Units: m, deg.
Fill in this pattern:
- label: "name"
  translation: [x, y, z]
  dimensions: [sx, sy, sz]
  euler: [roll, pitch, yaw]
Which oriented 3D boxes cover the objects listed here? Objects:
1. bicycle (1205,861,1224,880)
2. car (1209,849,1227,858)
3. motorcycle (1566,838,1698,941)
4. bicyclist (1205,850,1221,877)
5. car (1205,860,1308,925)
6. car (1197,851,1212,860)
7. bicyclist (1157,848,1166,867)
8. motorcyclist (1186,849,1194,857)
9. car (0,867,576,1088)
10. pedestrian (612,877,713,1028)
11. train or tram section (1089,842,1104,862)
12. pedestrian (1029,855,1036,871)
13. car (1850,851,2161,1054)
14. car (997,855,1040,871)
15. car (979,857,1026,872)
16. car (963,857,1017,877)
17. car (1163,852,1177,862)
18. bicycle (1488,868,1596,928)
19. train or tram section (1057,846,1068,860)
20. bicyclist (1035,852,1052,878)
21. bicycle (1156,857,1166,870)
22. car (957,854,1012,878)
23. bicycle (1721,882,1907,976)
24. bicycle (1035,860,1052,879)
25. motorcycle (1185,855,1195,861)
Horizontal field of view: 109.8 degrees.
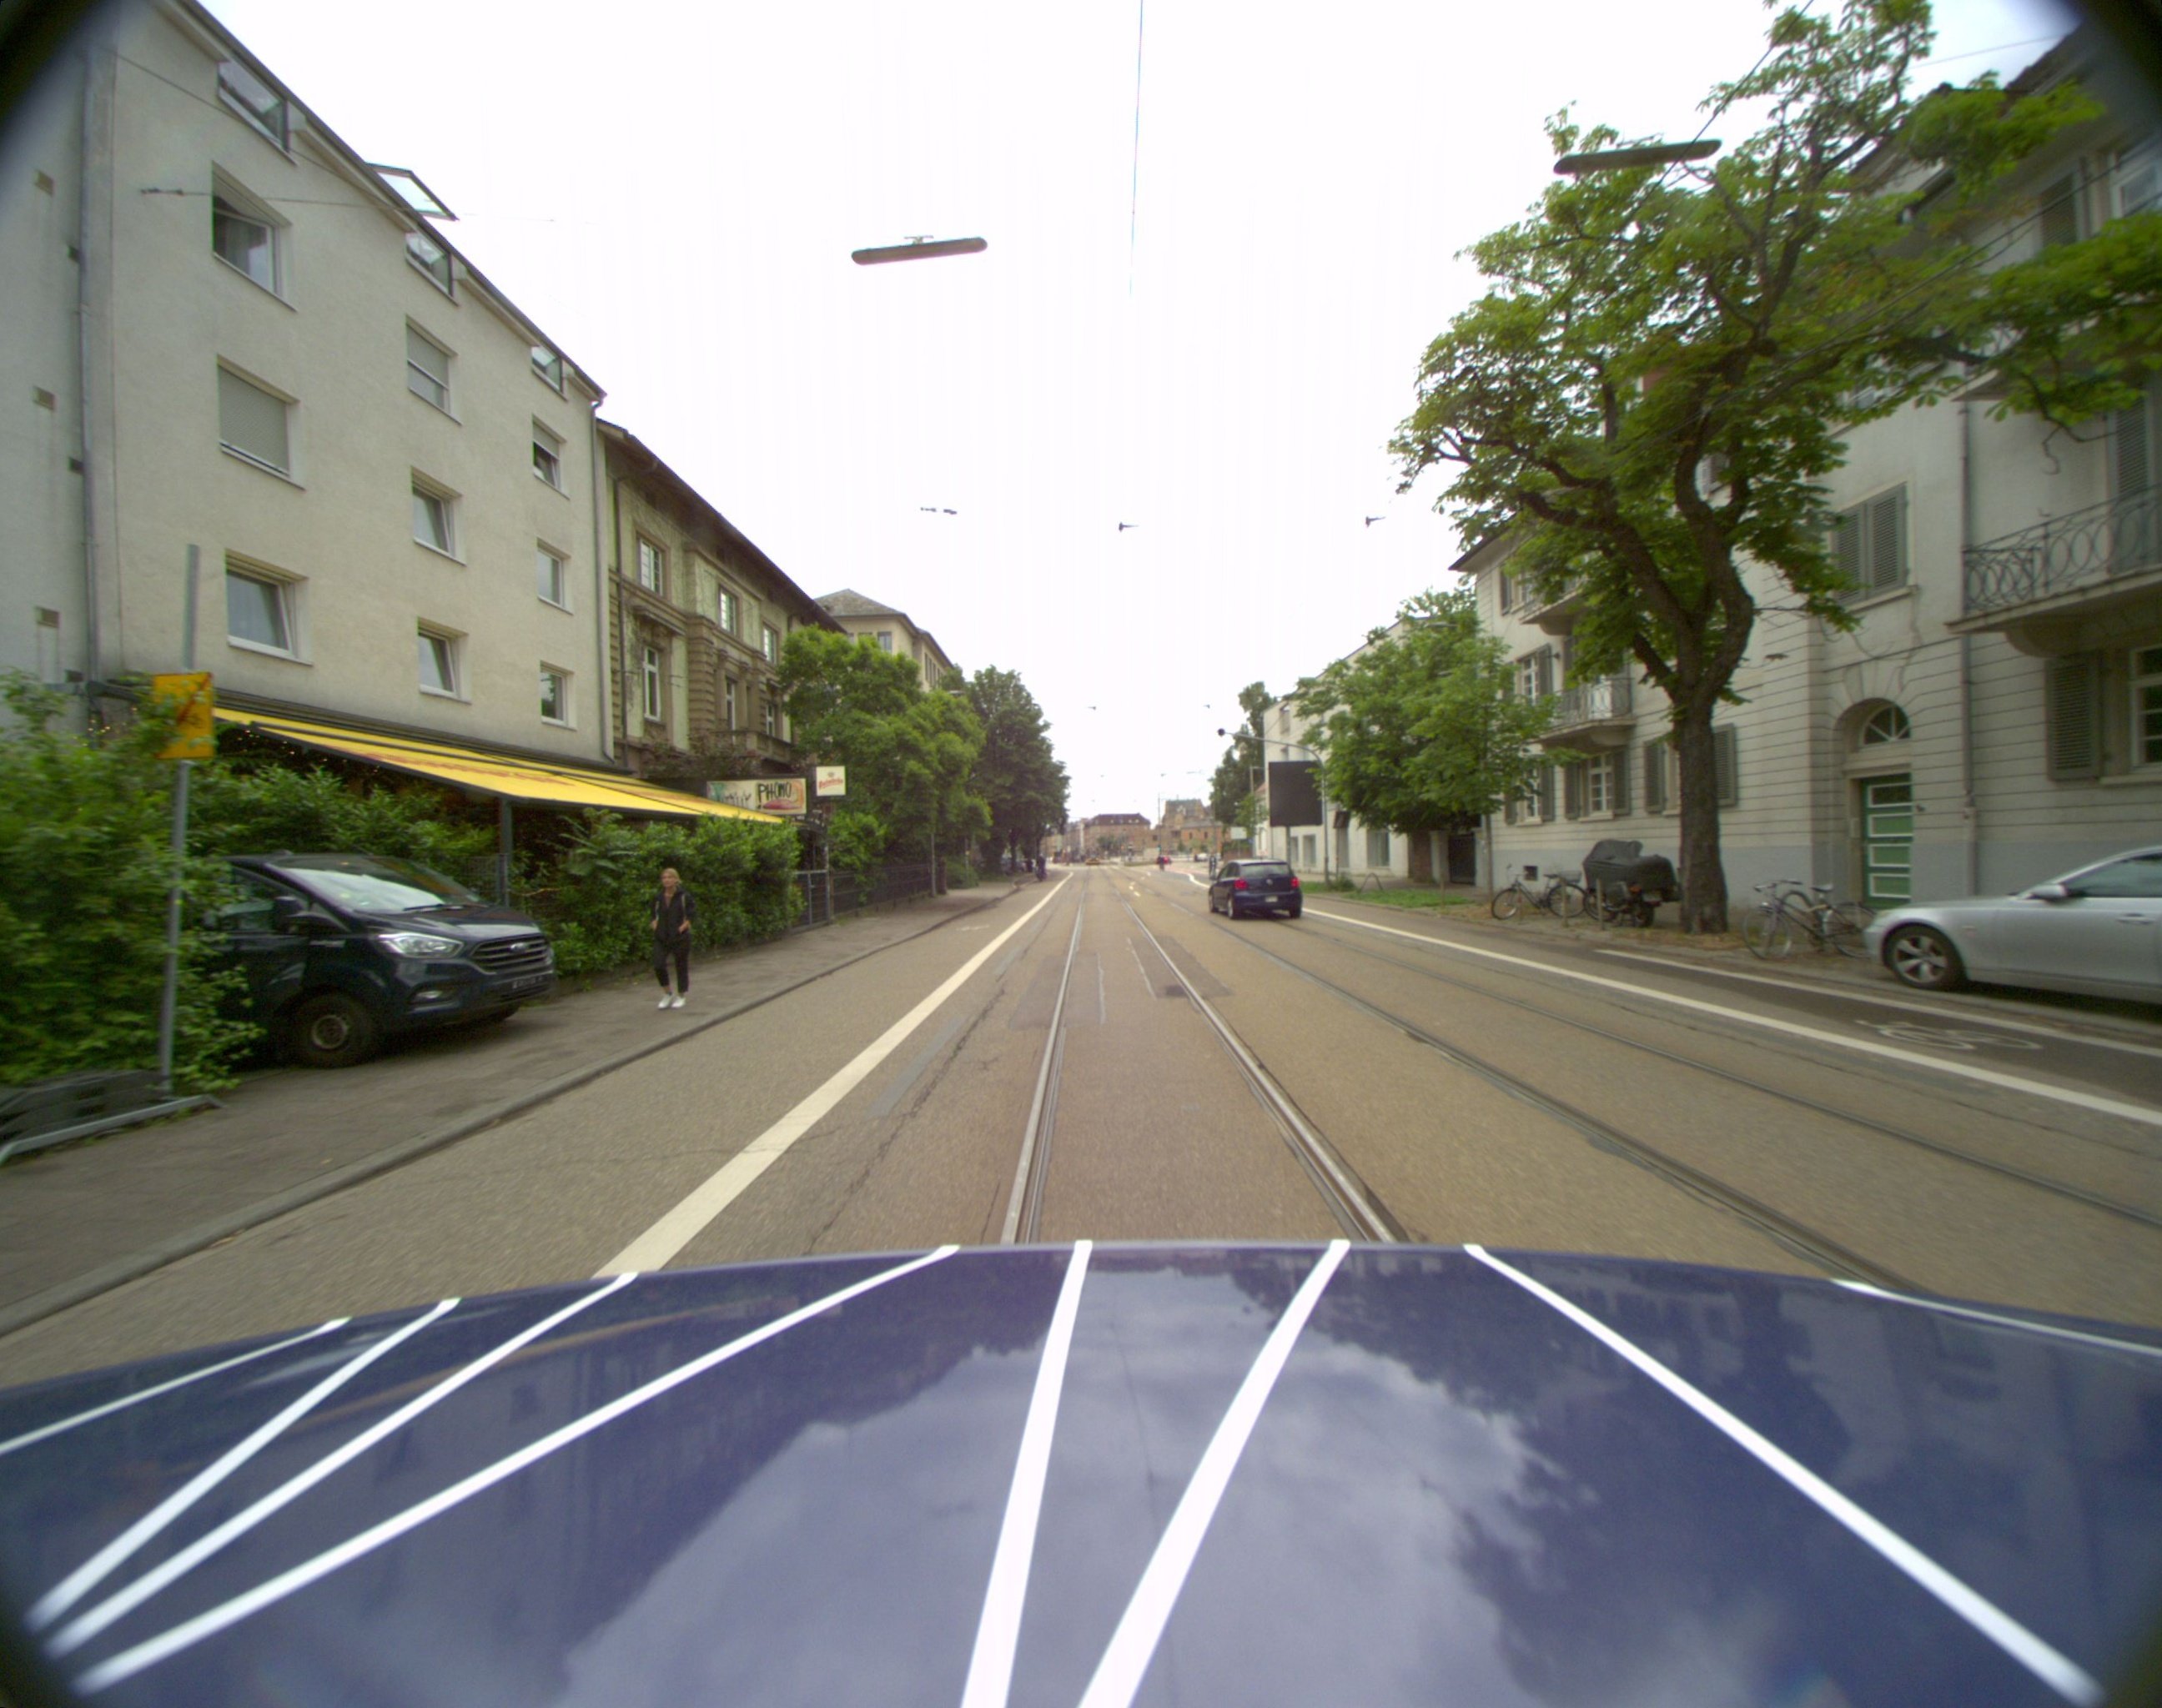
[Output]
- label: "bicycle"
  translation: [8.665, 1.052, 49.304]
  dimensions: [0.774, 1.205, 1.872]
  euler: [-1, 0, 23]
- label: "car"
  translation: [26.160, -0.137, 144.854]
  dimensions: [1.682, 1.641, 3.988]
  euler: [-1, 1, 35]
- label: "motorcycle"
  translation: [9.590, 0.563, 13.385]
  dimensions: [0.834, 1.633, 2.481]
  euler: [-1, 0, 9]
- label: "bicyclist"
  translation: [8.523, 0.621, 48.978]
  dimensions: [0.774, 1.681, 0.870]
  euler: [-1, 1, 23]
- label: "car"
  translation: [4.278, 0.884, 19.007]
  dimensions: [1.733, 1.400, 3.655]
  euler: [-2, 0, 1]
- label: "car"
  translation: [22.514, 0.234, 138.518]
  dimensions: [1.491, 1.500, 3.476]
  euler: [-1, 1, 34]
- label: "bicyclist"
  translation: [7.814, 0.357, 73.897]
  dimensions: [0.793, 1.773, 1.148]
  euler: [2, 1, 9]
- label: "motorcyclist"
  translation: [19.325, -0.156, 134.702]
  dimensions: [1.074, 1.477, 1.253]
  euler: [-2, 0, 23]
- label: "car"
  translation: [-7.594, 1.061, 7.298]
  dimensions: [4.290, 1.798, 1.824]
  euler: [0, 0, 3]
- label: "pedestrian"
  translation: [-4.932, 1.120, 9.008]
  dimensions: [0.625, 1.661, 0.960]
  euler: [1, 0, 1]
- label: "train or tram section"
  translation: [2.898, -0.466, 144.968]
  dimensions: [2.631, 3.659, 5.984]
  euler: [-2, 0, -1]
- label: "pedestrian"
  translation: [-5.266, 0.991, 83.075]
  dimensions: [0.614, 1.740, 0.685]
  euler: [-2, 1, -13]
- label: "car"
  translation: [9.016, 0.741, 5.730]
  dimensions: [1.816, 1.457, 4.614]
  euler: [-2, 0, 2]
- label: "car"
  translation: [-6.945, 0.990, 84.378]
  dimensions: [4.330, 1.542, 1.747]
  euler: [-2, 0, -22]
- label: "car"
  translation: [-7.858, 1.042, 76.508]
  dimensions: [4.338, 1.394, 1.750]
  euler: [-1, 0, -32]
- label: "car"
  translation: [-7.508, 1.059, 62.707]
  dimensions: [4.007, 1.530, 1.860]
  euler: [-1, 0, -34]
- label: "car"
  translation: [14.558, 0.463, 123.912]
  dimensions: [1.758, 1.490, 4.004]
  euler: [0, 1, 14]
- label: "bicycle"
  translation: [9.312, 0.890, 15.417]
  dimensions: [1.744, 1.122, 0.518]
  euler: [-3, 0, 19]
- label: "train or tram section"
  translation: [-4.279, -0.230, 176.919]
  dimensions: [2.609, 2.936, 4.965]
  euler: [-2, 0, -1]
- label: "bicyclist"
  translation: [-2.634, 0.791, 53.394]
  dimensions: [0.881, 1.811, 1.479]
  euler: [-2, -1, 6]
- label: "bicycle"
  translation: [7.795, 0.896, 73.911]
  dimensions: [0.793, 1.179, 2.012]
  euler: [1, 0, 9]
- label: "car"
  translation: [-7.556, 0.928, 59.525]
  dimensions: [3.846, 1.810, 1.803]
  euler: [-1, 0, -30]
- label: "bicycle"
  translation: [9.293, 0.934, 9.668]
  dimensions: [1.900, 1.022, 0.563]
  euler: [-3, 3, -3]
- label: "bicycle"
  translation: [-2.624, 1.093, 53.259]
  dimensions: [0.852, 1.234, 2.311]
  euler: [-2, -1, 6]
- label: "motorcycle"
  translation: [19.234, 0.687, 134.394]
  dimensions: [1.054, 1.063, 2.652]
  euler: [-2, 0, 23]
